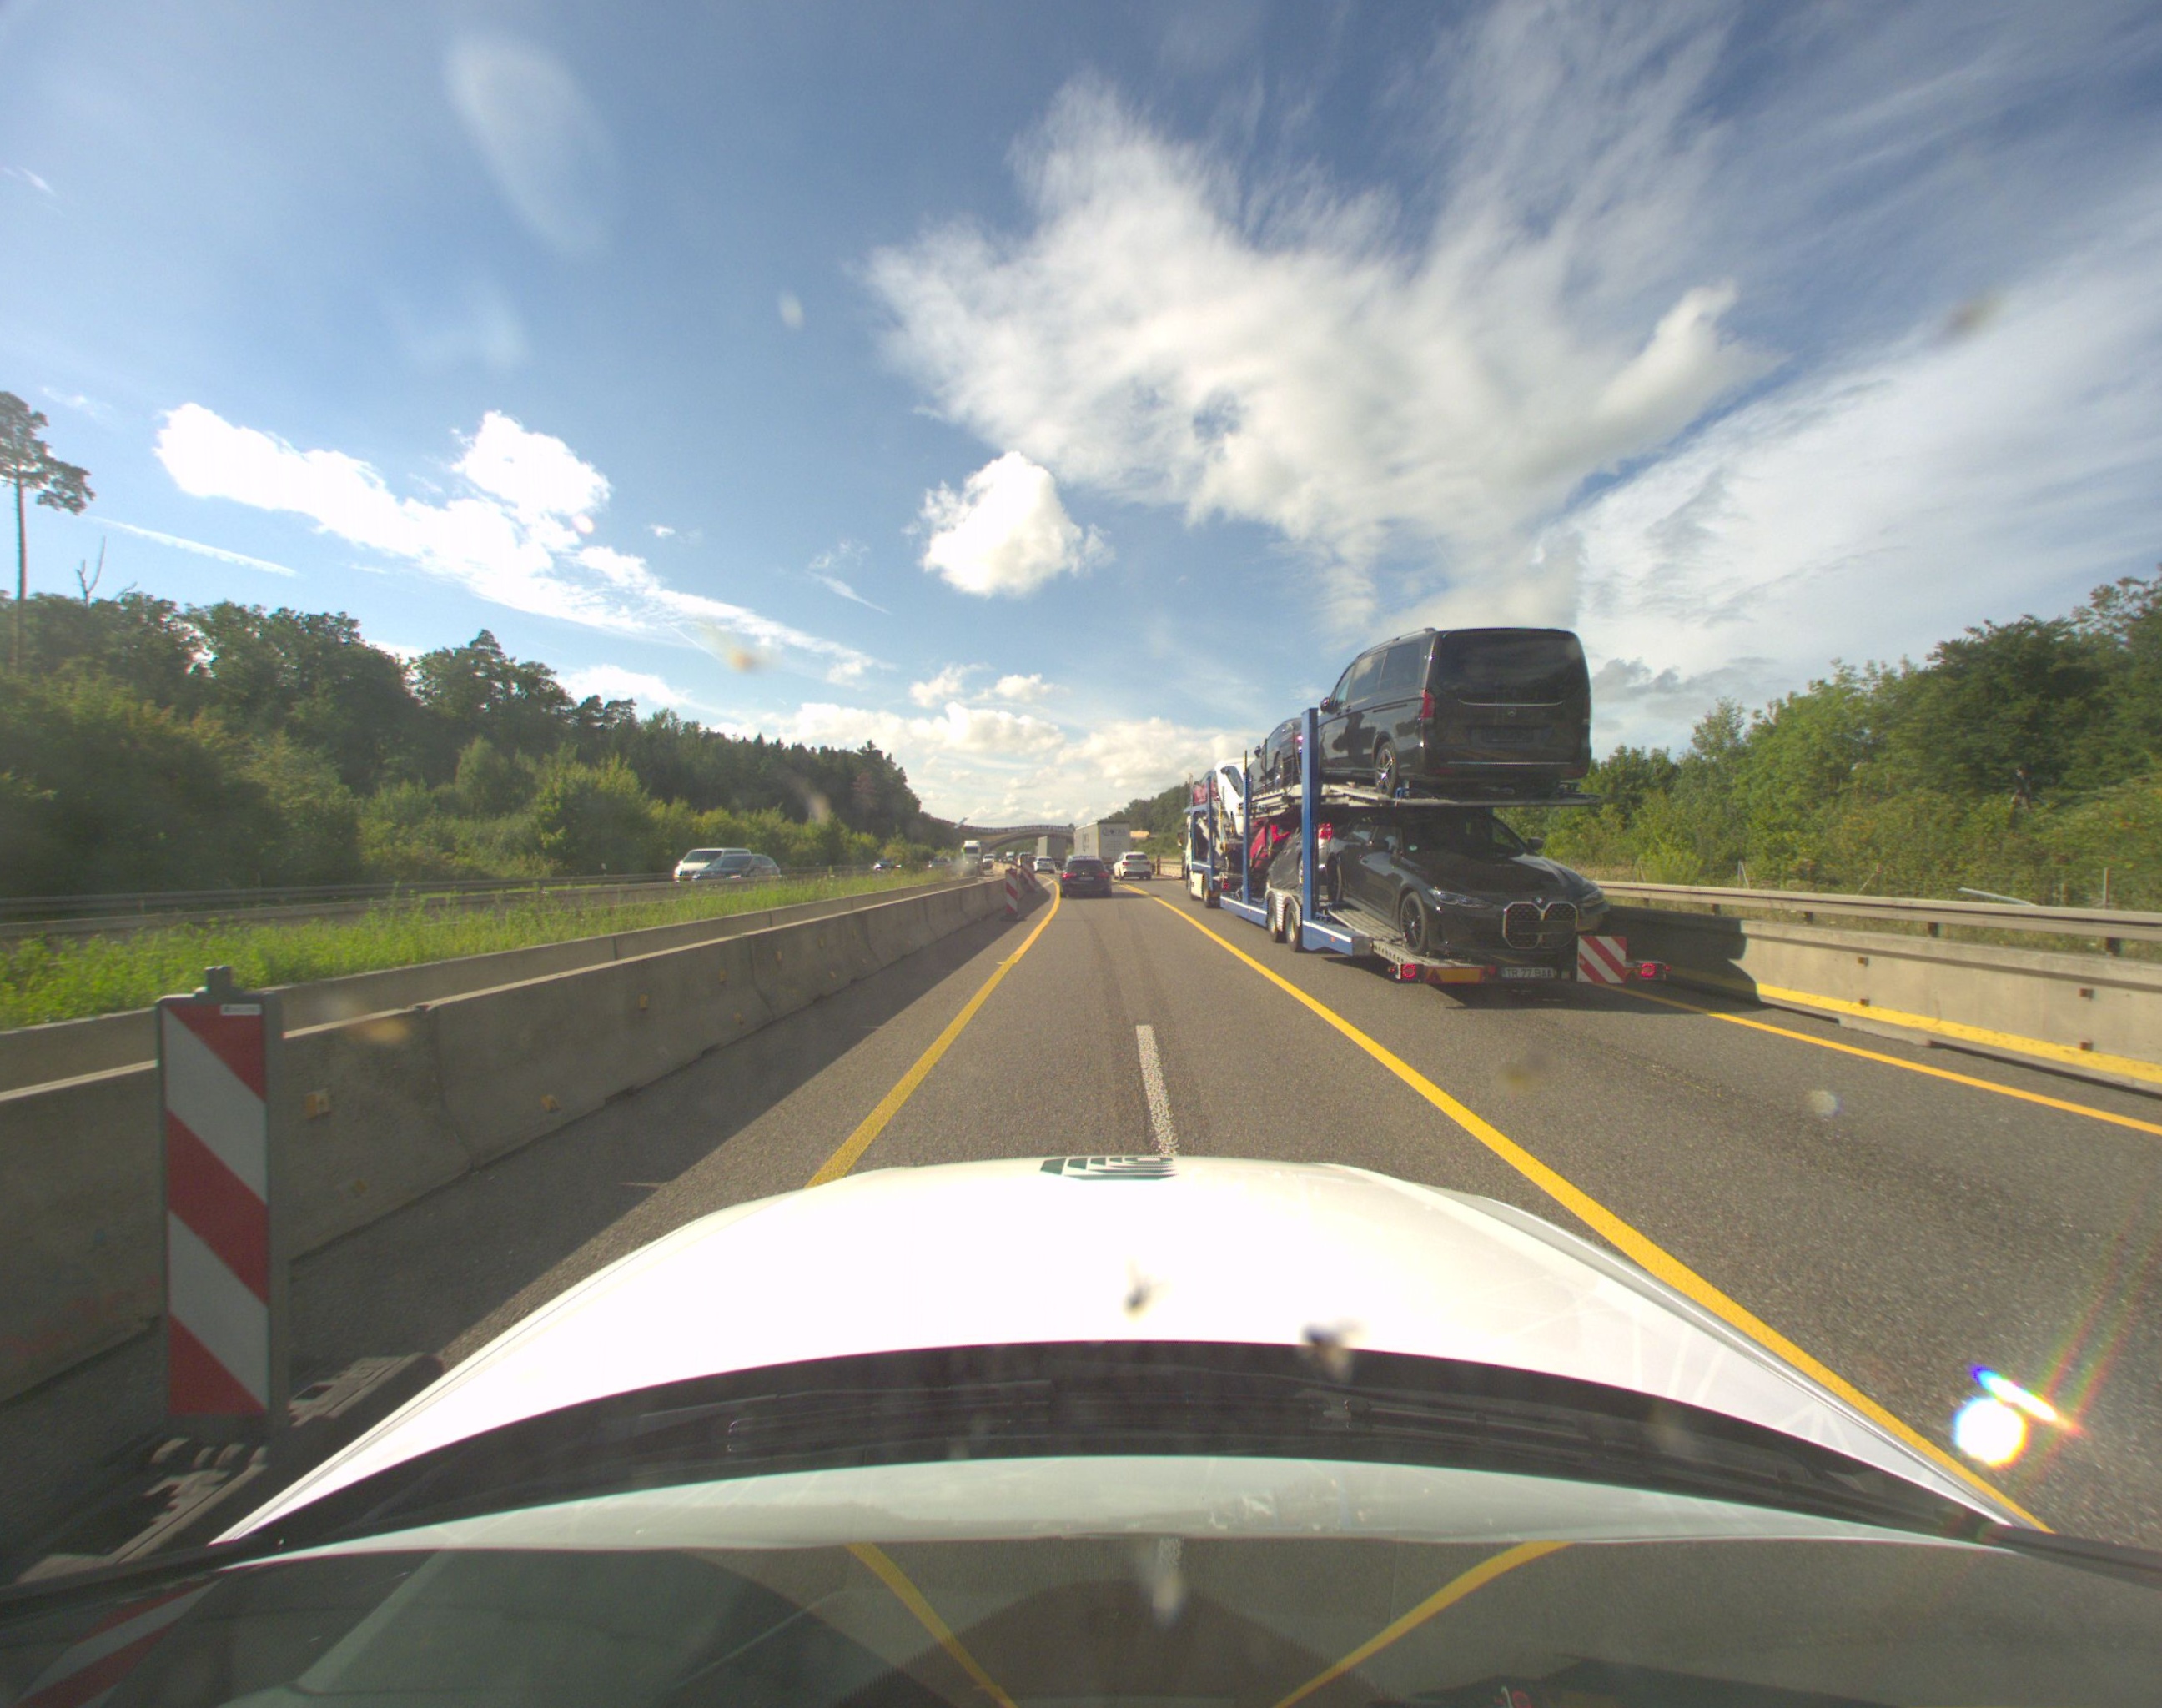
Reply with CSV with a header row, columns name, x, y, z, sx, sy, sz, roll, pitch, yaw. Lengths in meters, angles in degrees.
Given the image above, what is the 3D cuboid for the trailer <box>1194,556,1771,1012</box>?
name,x,y,z,sx,sy,sz,roll,pitch,yaw
trailer,4.830,-0.626,15.662,3.711,4.196,16.237,0,0,2

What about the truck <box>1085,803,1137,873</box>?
name,x,y,z,sx,sy,sz,roll,pitch,yaw
truck,2.305,-1.210,69.994,3.666,5.353,16.194,0,0,-1

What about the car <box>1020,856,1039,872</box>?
name,x,y,z,sx,sy,sz,roll,pitch,yaw
car,-5.512,1.049,86.739,1.888,1.643,4.008,0,0,-7

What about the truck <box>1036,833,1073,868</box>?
name,x,y,z,sx,sy,sz,roll,pitch,yaw
truck,-3.726,-0.406,112.613,4.314,4.600,11.100,0,0,-6

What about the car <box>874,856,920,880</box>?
name,x,y,z,sx,sy,sz,roll,pitch,yaw
car,-12.768,0.960,56.930,1.961,1.602,4.948,0,0,1

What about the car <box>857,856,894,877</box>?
name,x,y,z,sx,sy,sz,roll,pitch,yaw
car,-17.145,1.018,68.182,1.962,1.602,4.945,0,0,-1

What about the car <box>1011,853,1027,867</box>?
name,x,y,z,sx,sy,sz,roll,pitch,yaw
car,-9.052,0.849,118.794,1.992,2.013,3.990,0,0,-7

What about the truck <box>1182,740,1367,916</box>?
name,x,y,z,sx,sy,sz,roll,pitch,yaw
truck,5.150,-0.611,23.568,3.746,4.196,7.955,0,0,2

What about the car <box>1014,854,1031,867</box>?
name,x,y,z,sx,sy,sz,roll,pitch,yaw
car,-7.261,0.783,100.822,1.888,1.643,4.010,0,0,-6

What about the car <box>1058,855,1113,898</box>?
name,x,y,z,sx,sy,sz,roll,pitch,yaw
car,0.206,0.775,30.097,1.884,1.446,4.001,0,0,1

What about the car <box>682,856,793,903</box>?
name,x,y,z,sx,sy,sz,roll,pitch,yaw
car,-12.809,0.903,30.736,1.961,1.602,4.948,0,0,1

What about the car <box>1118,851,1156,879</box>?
name,x,y,z,sx,sy,sz,roll,pitch,yaw
car,3.346,0.642,49.085,1.885,1.643,4.015,0,0,-2

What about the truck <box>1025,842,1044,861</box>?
name,x,y,z,sx,sy,sz,roll,pitch,yaw
truck,-10.002,-0.503,174.394,3.649,3.928,11.044,0,0,-6

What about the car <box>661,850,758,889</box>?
name,x,y,z,sx,sy,sz,roll,pitch,yaw
car,-16.548,0.641,36.558,1.961,1.602,4.948,0,0,1

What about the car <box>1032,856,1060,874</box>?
name,x,y,z,sx,sy,sz,roll,pitch,yaw
car,-3.037,0.923,69.277,1.890,1.446,3.987,0,0,-10

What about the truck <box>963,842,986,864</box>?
name,x,y,z,sx,sy,sz,roll,pitch,yaw
truck,-16.616,-0.201,126.929,2.747,3.298,5.813,0,0,0

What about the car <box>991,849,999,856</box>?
name,x,y,z,sx,sy,sz,roll,pitch,yaw
car,-22.885,-0.384,216.643,1.775,1.866,3.996,0,0,-2
